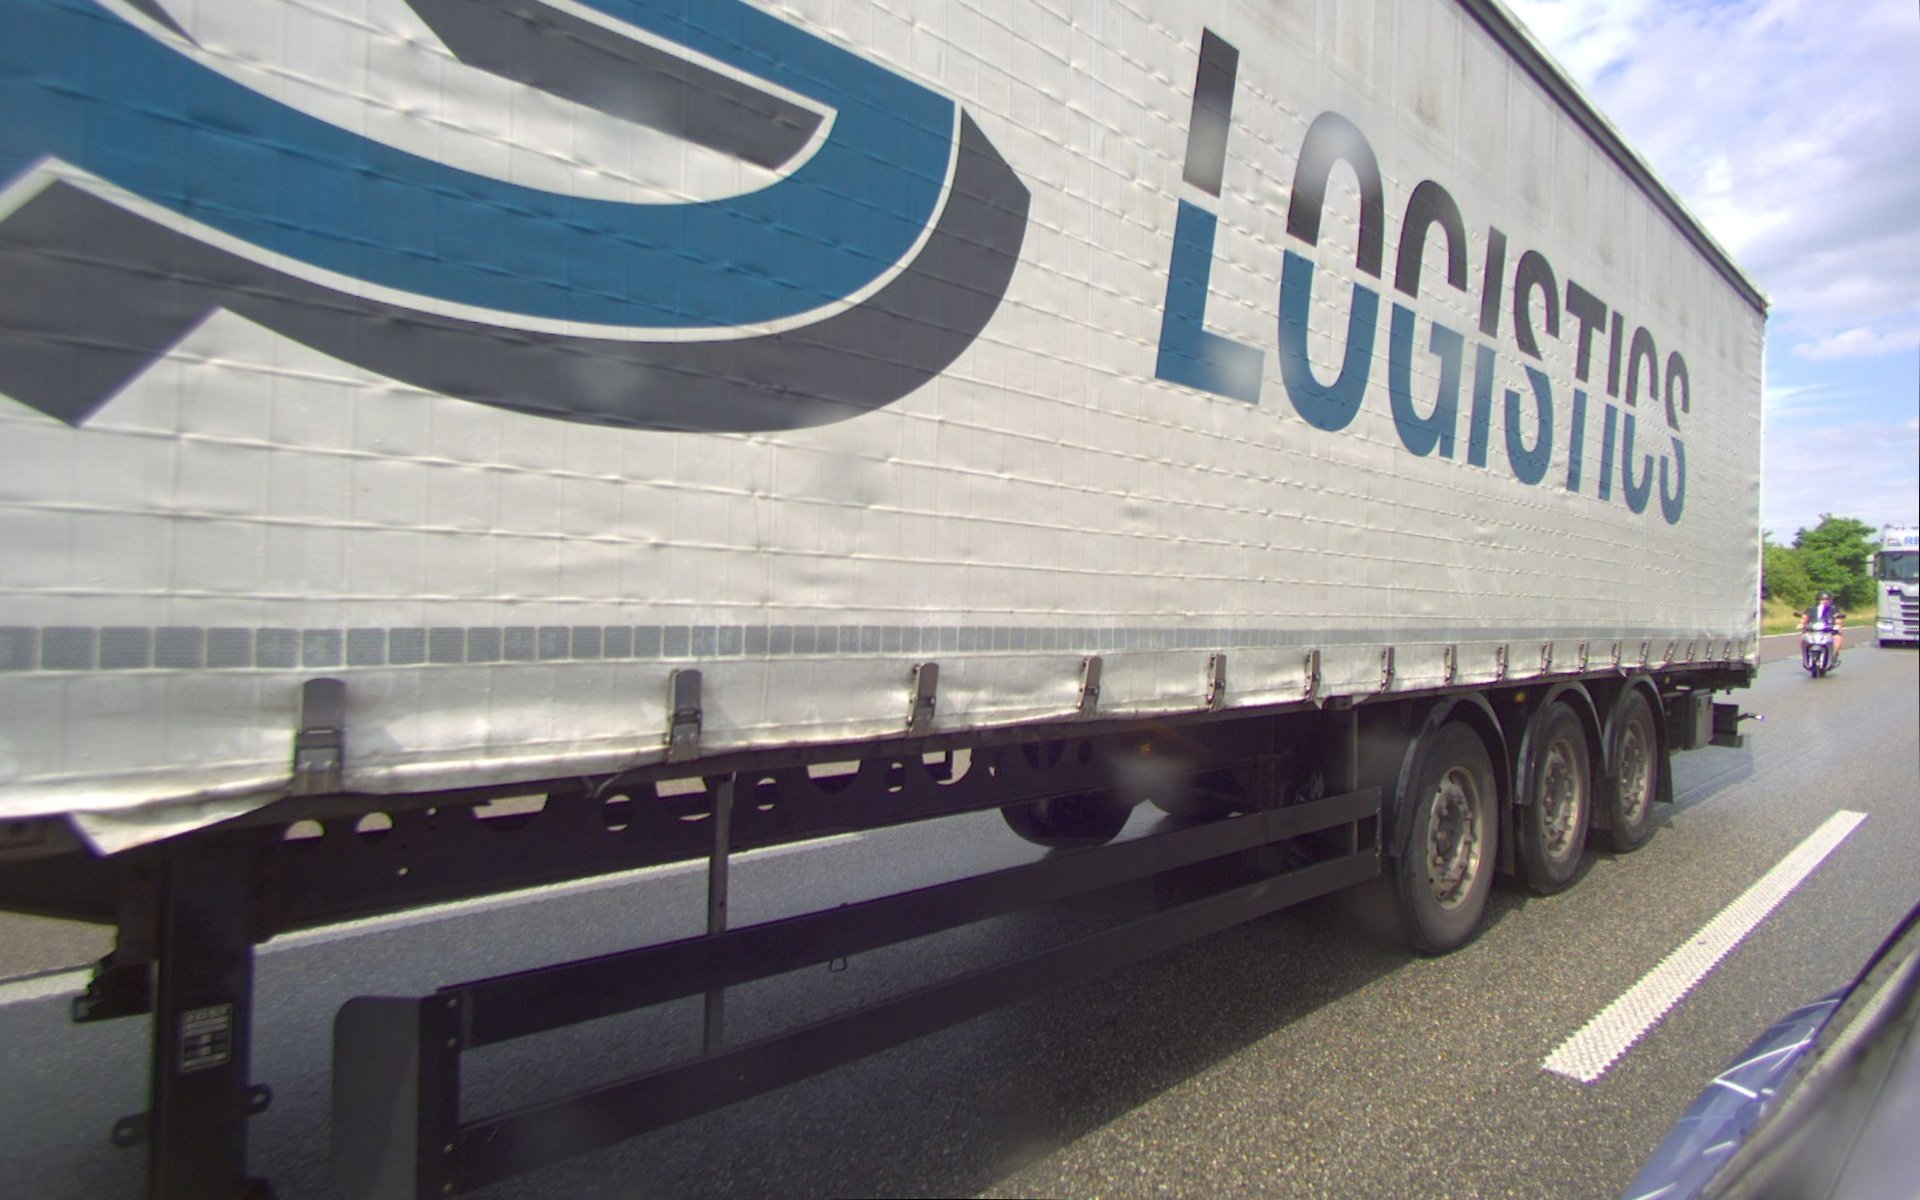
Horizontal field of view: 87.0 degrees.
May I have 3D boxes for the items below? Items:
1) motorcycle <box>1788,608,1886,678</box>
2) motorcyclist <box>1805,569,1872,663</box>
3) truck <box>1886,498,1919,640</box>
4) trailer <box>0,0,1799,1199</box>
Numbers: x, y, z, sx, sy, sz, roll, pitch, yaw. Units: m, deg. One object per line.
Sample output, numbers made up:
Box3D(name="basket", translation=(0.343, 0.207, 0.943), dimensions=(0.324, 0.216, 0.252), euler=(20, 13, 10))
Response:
Box3D(name="motorcycle", translation=(16.766, 0.759, 19.302), dimensions=(3.143, 1.163, 1.185), euler=(-1, 1, -45))
Box3D(name="motorcyclist", translation=(16.722, 0.288, 19.269), dimensions=(0.984, 1.728, 0.882), euler=(0, 0, -44))
Box3D(name="truck", translation=(32.078, -0.974, 32.854), dimensions=(6.773, 4.328, 2.644), euler=(-1, 1, -45))
Box3D(name="trailer", translation=(0.366, -0.598, 4.528), dimensions=(13.886, 3.948, 3.288), euler=(0, 0, -42))
